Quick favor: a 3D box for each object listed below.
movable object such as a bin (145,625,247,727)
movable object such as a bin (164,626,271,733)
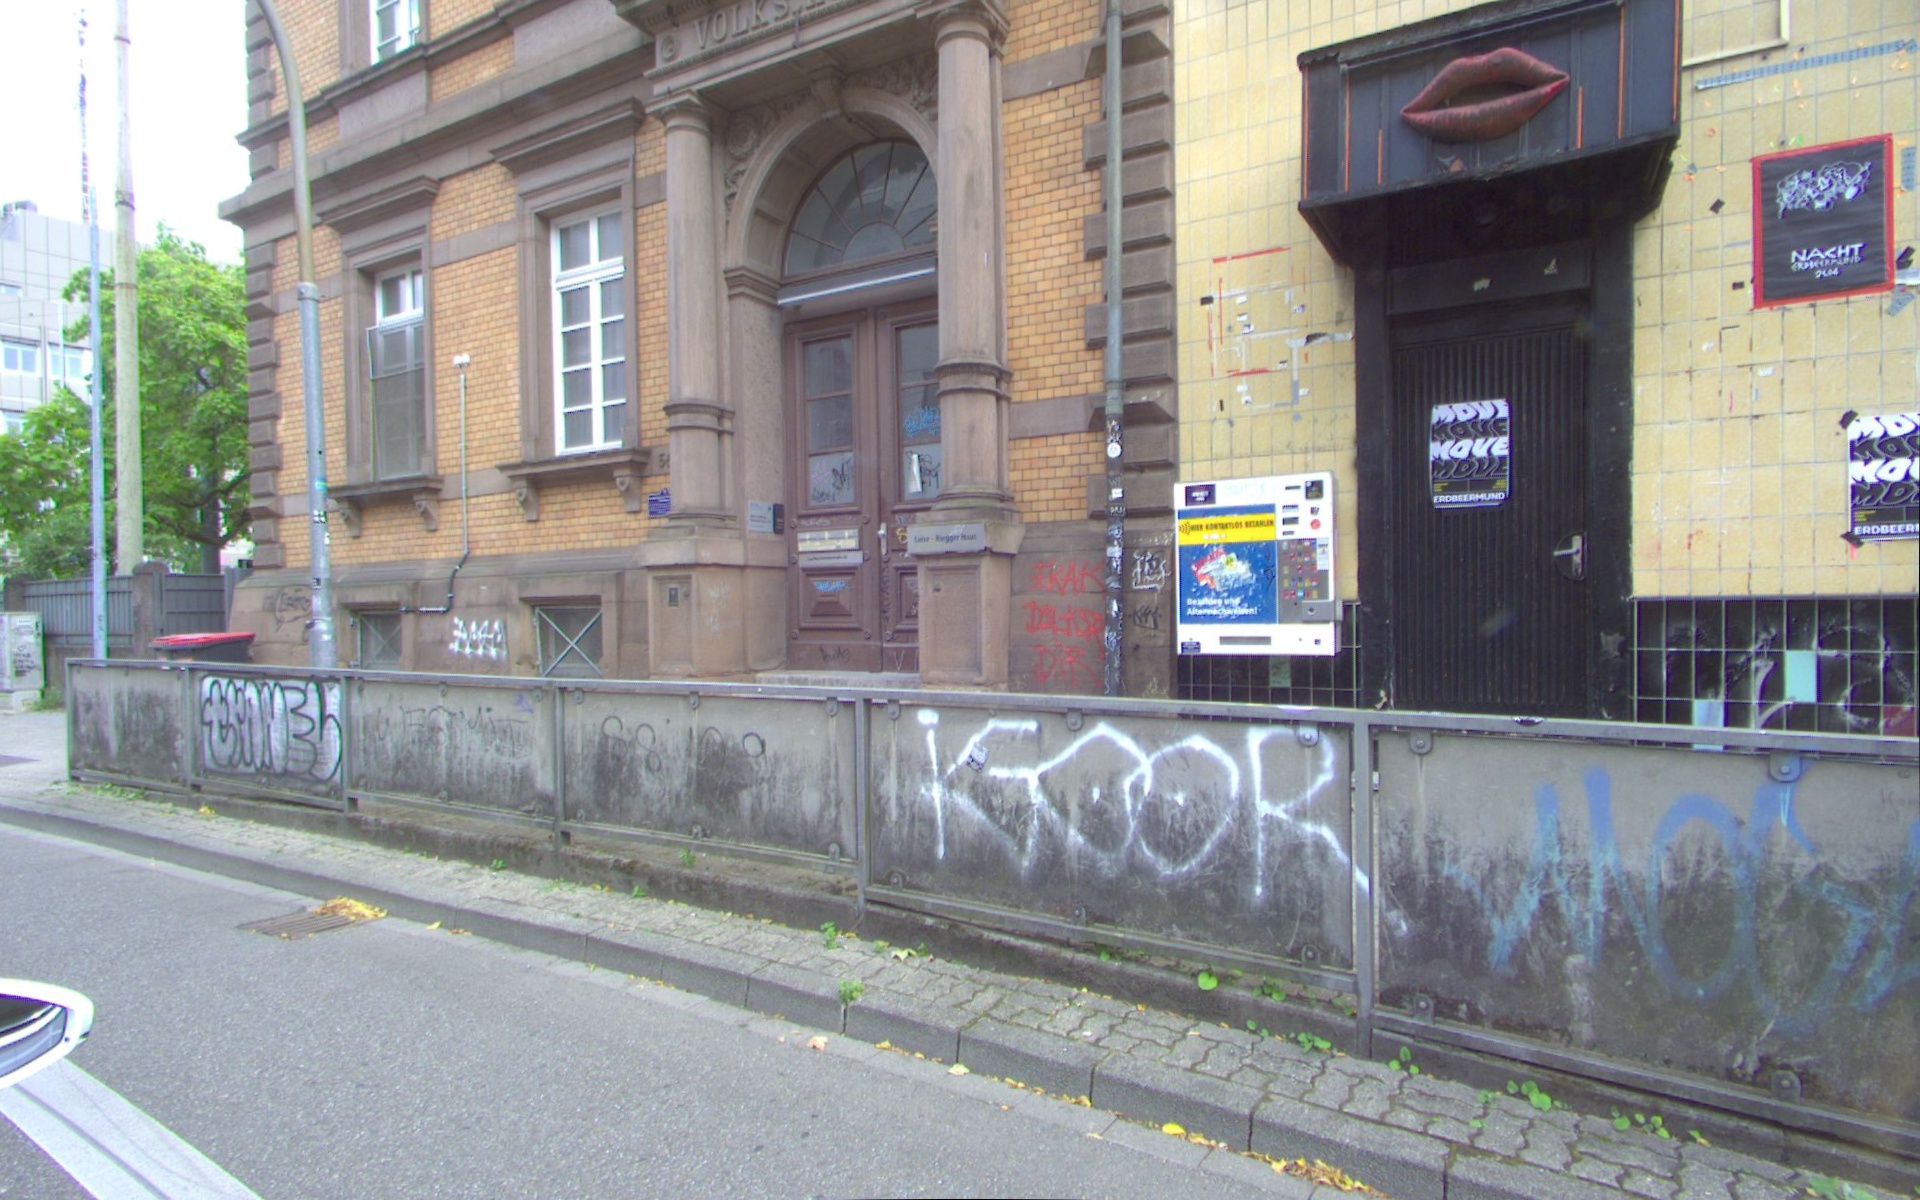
[{"bbox_3d":[-8.890,0.872,11.664,0.667,1.097,0.650,-1,4,27],"label":"movable object such as a bin"},{"bbox_3d":[-8.325,0.873,11.235,0.690,1.097,0.662,-1,4,27],"label":"movable object such as a bin"}]
